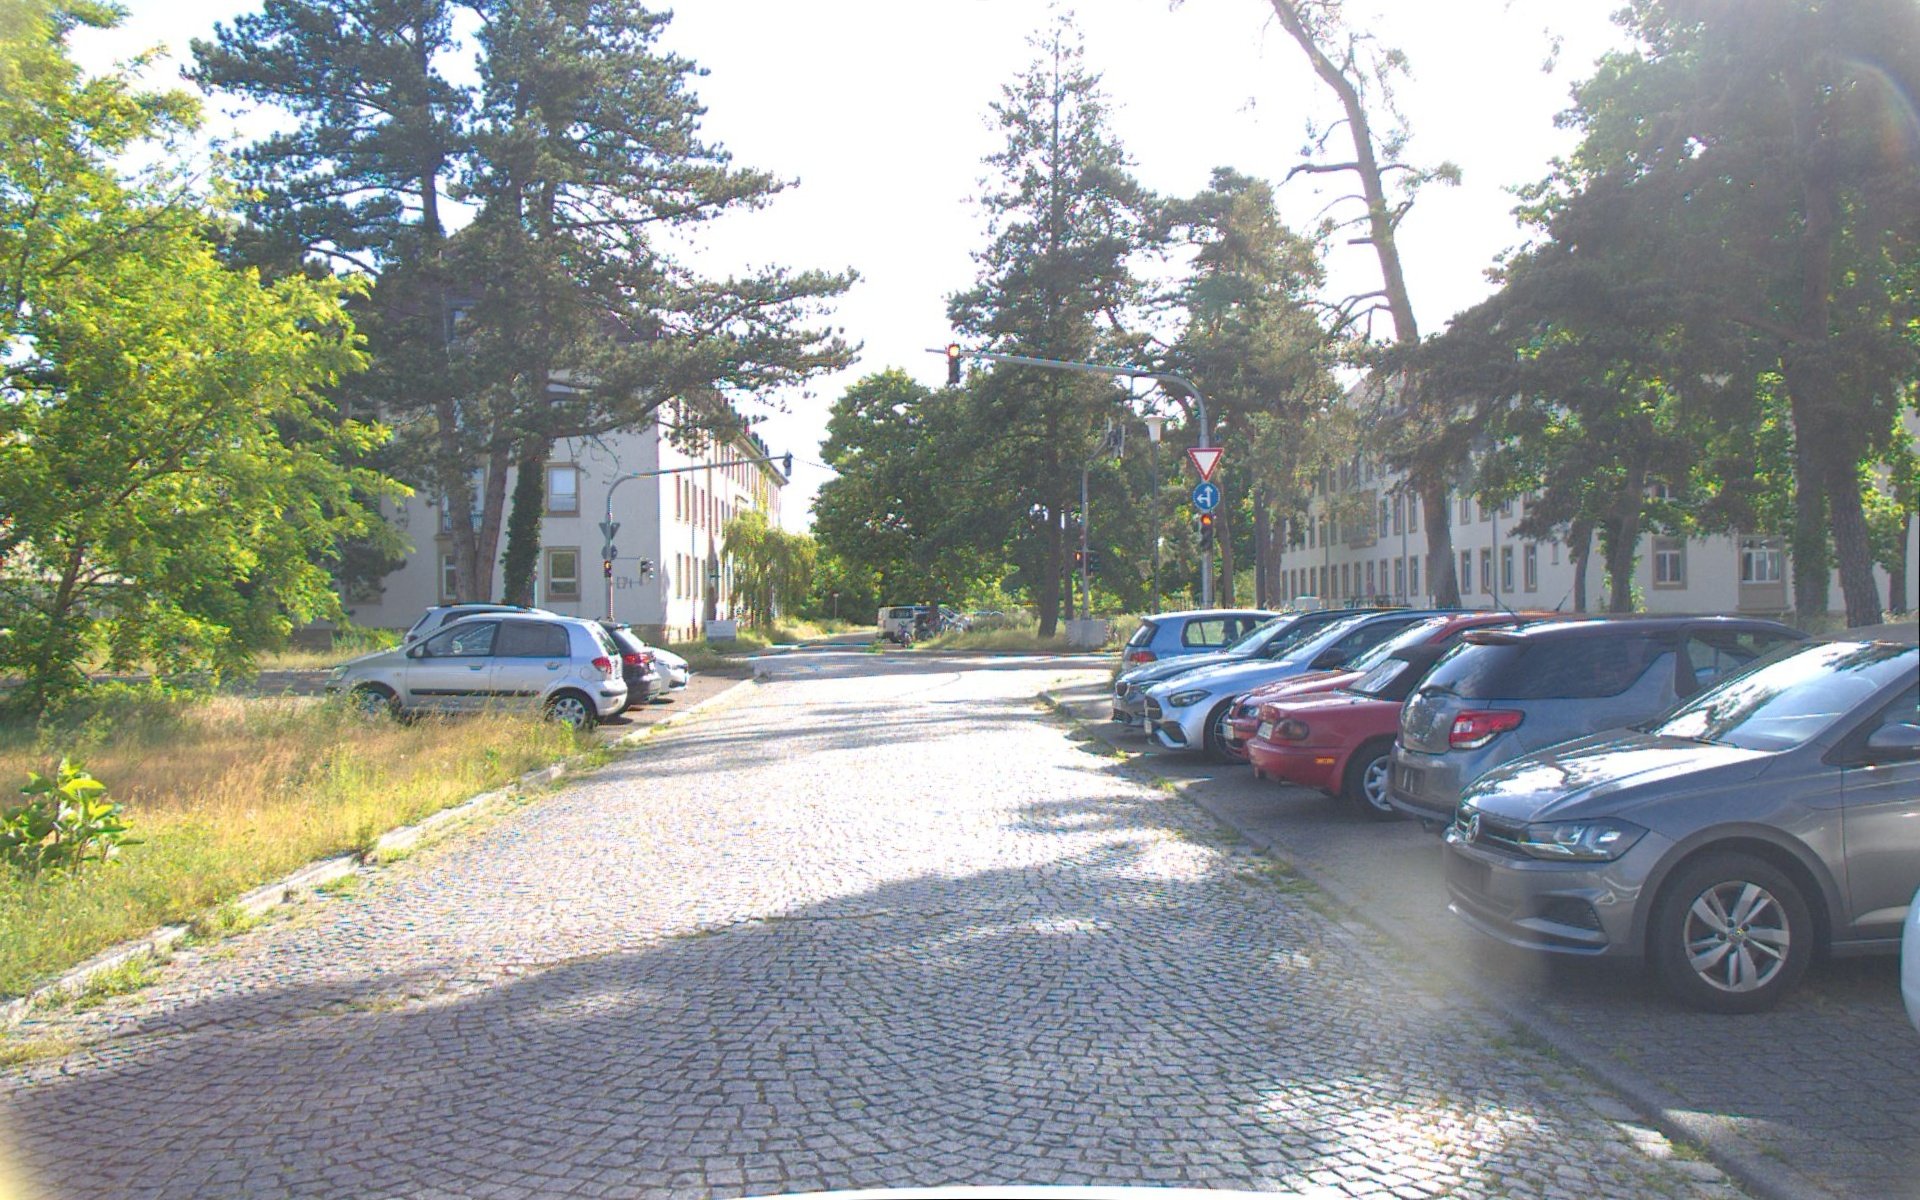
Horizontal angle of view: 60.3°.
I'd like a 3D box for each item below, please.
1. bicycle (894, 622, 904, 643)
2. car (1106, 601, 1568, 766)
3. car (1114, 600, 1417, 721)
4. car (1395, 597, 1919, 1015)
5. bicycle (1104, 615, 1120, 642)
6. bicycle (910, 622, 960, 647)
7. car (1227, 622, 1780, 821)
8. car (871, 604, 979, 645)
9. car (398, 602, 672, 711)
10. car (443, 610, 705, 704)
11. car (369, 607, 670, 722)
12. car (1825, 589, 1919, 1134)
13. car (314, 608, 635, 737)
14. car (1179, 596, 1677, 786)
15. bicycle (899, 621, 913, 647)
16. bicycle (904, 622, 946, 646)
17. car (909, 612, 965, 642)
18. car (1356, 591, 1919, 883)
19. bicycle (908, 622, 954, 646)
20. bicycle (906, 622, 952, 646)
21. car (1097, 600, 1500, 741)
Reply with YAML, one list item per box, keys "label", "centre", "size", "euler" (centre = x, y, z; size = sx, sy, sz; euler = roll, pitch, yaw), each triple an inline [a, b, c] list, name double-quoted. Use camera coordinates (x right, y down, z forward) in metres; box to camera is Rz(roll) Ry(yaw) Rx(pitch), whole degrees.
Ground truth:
- label: "bicycle"
  centre: [-2.988, 1.581, 80.968]
  size: [0.409, 1.028, 1.483]
  euler: [1, -1, -1]
- label: "car"
  centre: [3.803, 0.816, 17.183]
  size: [4.342, 1.440, 1.780]
  euler: [-2, 0, -2]
- label: "car"
  centre: [4.121, 0.803, 22.690]
  size: [3.804, 1.440, 1.636]
  euler: [-2, 0, -2]
- label: "car"
  centre: [3.989, 0.757, 7.234]
  size: [3.632, 1.474, 1.855]
  euler: [-2, 0, -2]
- label: "bicycle"
  centre: [5.464, 1.028, 59.520]
  size: [0.295, 0.977, 1.584]
  euler: [1, -1, -5]
- label: "bicycle"
  centre: [-1.077, 1.479, 71.486]
  size: [2.070, 1.028, 0.619]
  euler: [2, -1, -10]
- label: "car"
  centre: [4.041, 0.880, 12.706]
  size: [3.632, 1.244, 1.746]
  euler: [-2, 0, -2]
- label: "car"
  centre: [-1.875, 1.323, 89.184]
  size: [5.440, 2.049, 1.988]
  euler: [2, -1, -20]
- label: "car"
  centre: [-6.808, 0.887, 26.857]
  size: [4.000, 1.621, 1.883]
  euler: [1, 0, -5]
- label: "car"
  centre: [-6.758, 0.991, 29.313]
  size: [4.249, 1.494, 1.829]
  euler: [1, 0, -5]
- label: "car"
  centre: [-6.295, 0.911, 23.998]
  size: [3.909, 1.506, 1.801]
  euler: [1, 0, -5]
- label: "car"
  centre: [4.558, 0.683, 4.332]
  size: [3.632, 1.561, 1.760]
  euler: [-2, 0, -2]
- label: "car"
  centre: [-6.173, 0.916, 21.374]
  size: [3.673, 1.513, 1.644]
  euler: [1, 0, -5]
- label: "car"
  centre: [4.160, 0.782, 15.111]
  size: [4.044, 1.474, 1.636]
  euler: [-2, 0, -2]
- label: "bicycle"
  centre: [-2.212, 1.383, 67.736]
  size: [0.458, 1.028, 1.584]
  euler: [1, -1, -5]
- label: "bicycle"
  centre: [-1.584, 1.532, 74.832]
  size: [1.804, 1.028, 0.634]
  euler: [2, -1, -10]
- label: "car"
  centre: [-1.212, 1.402, 85.857]
  size: [2.728, 1.492, 1.669]
  euler: [1, -1, -7]
- label: "car"
  centre: [4.492, 0.754, 10.121]
  size: [3.633, 1.474, 1.815]
  euler: [-2, 0, -2]
- label: "bicycle"
  centre: [-1.280, 1.506, 73.087]
  size: [1.968, 1.028, 0.630]
  euler: [2, -1, -10]
- label: "bicycle"
  centre: [-1.382, 1.520, 73.965]
  size: [1.991, 1.028, 0.626]
  euler: [2, -1, -10]
- label: "car"
  centre: [3.982, 0.814, 19.905]
  size: [4.467, 1.440, 1.636]
  euler: [-2, 0, -2]
